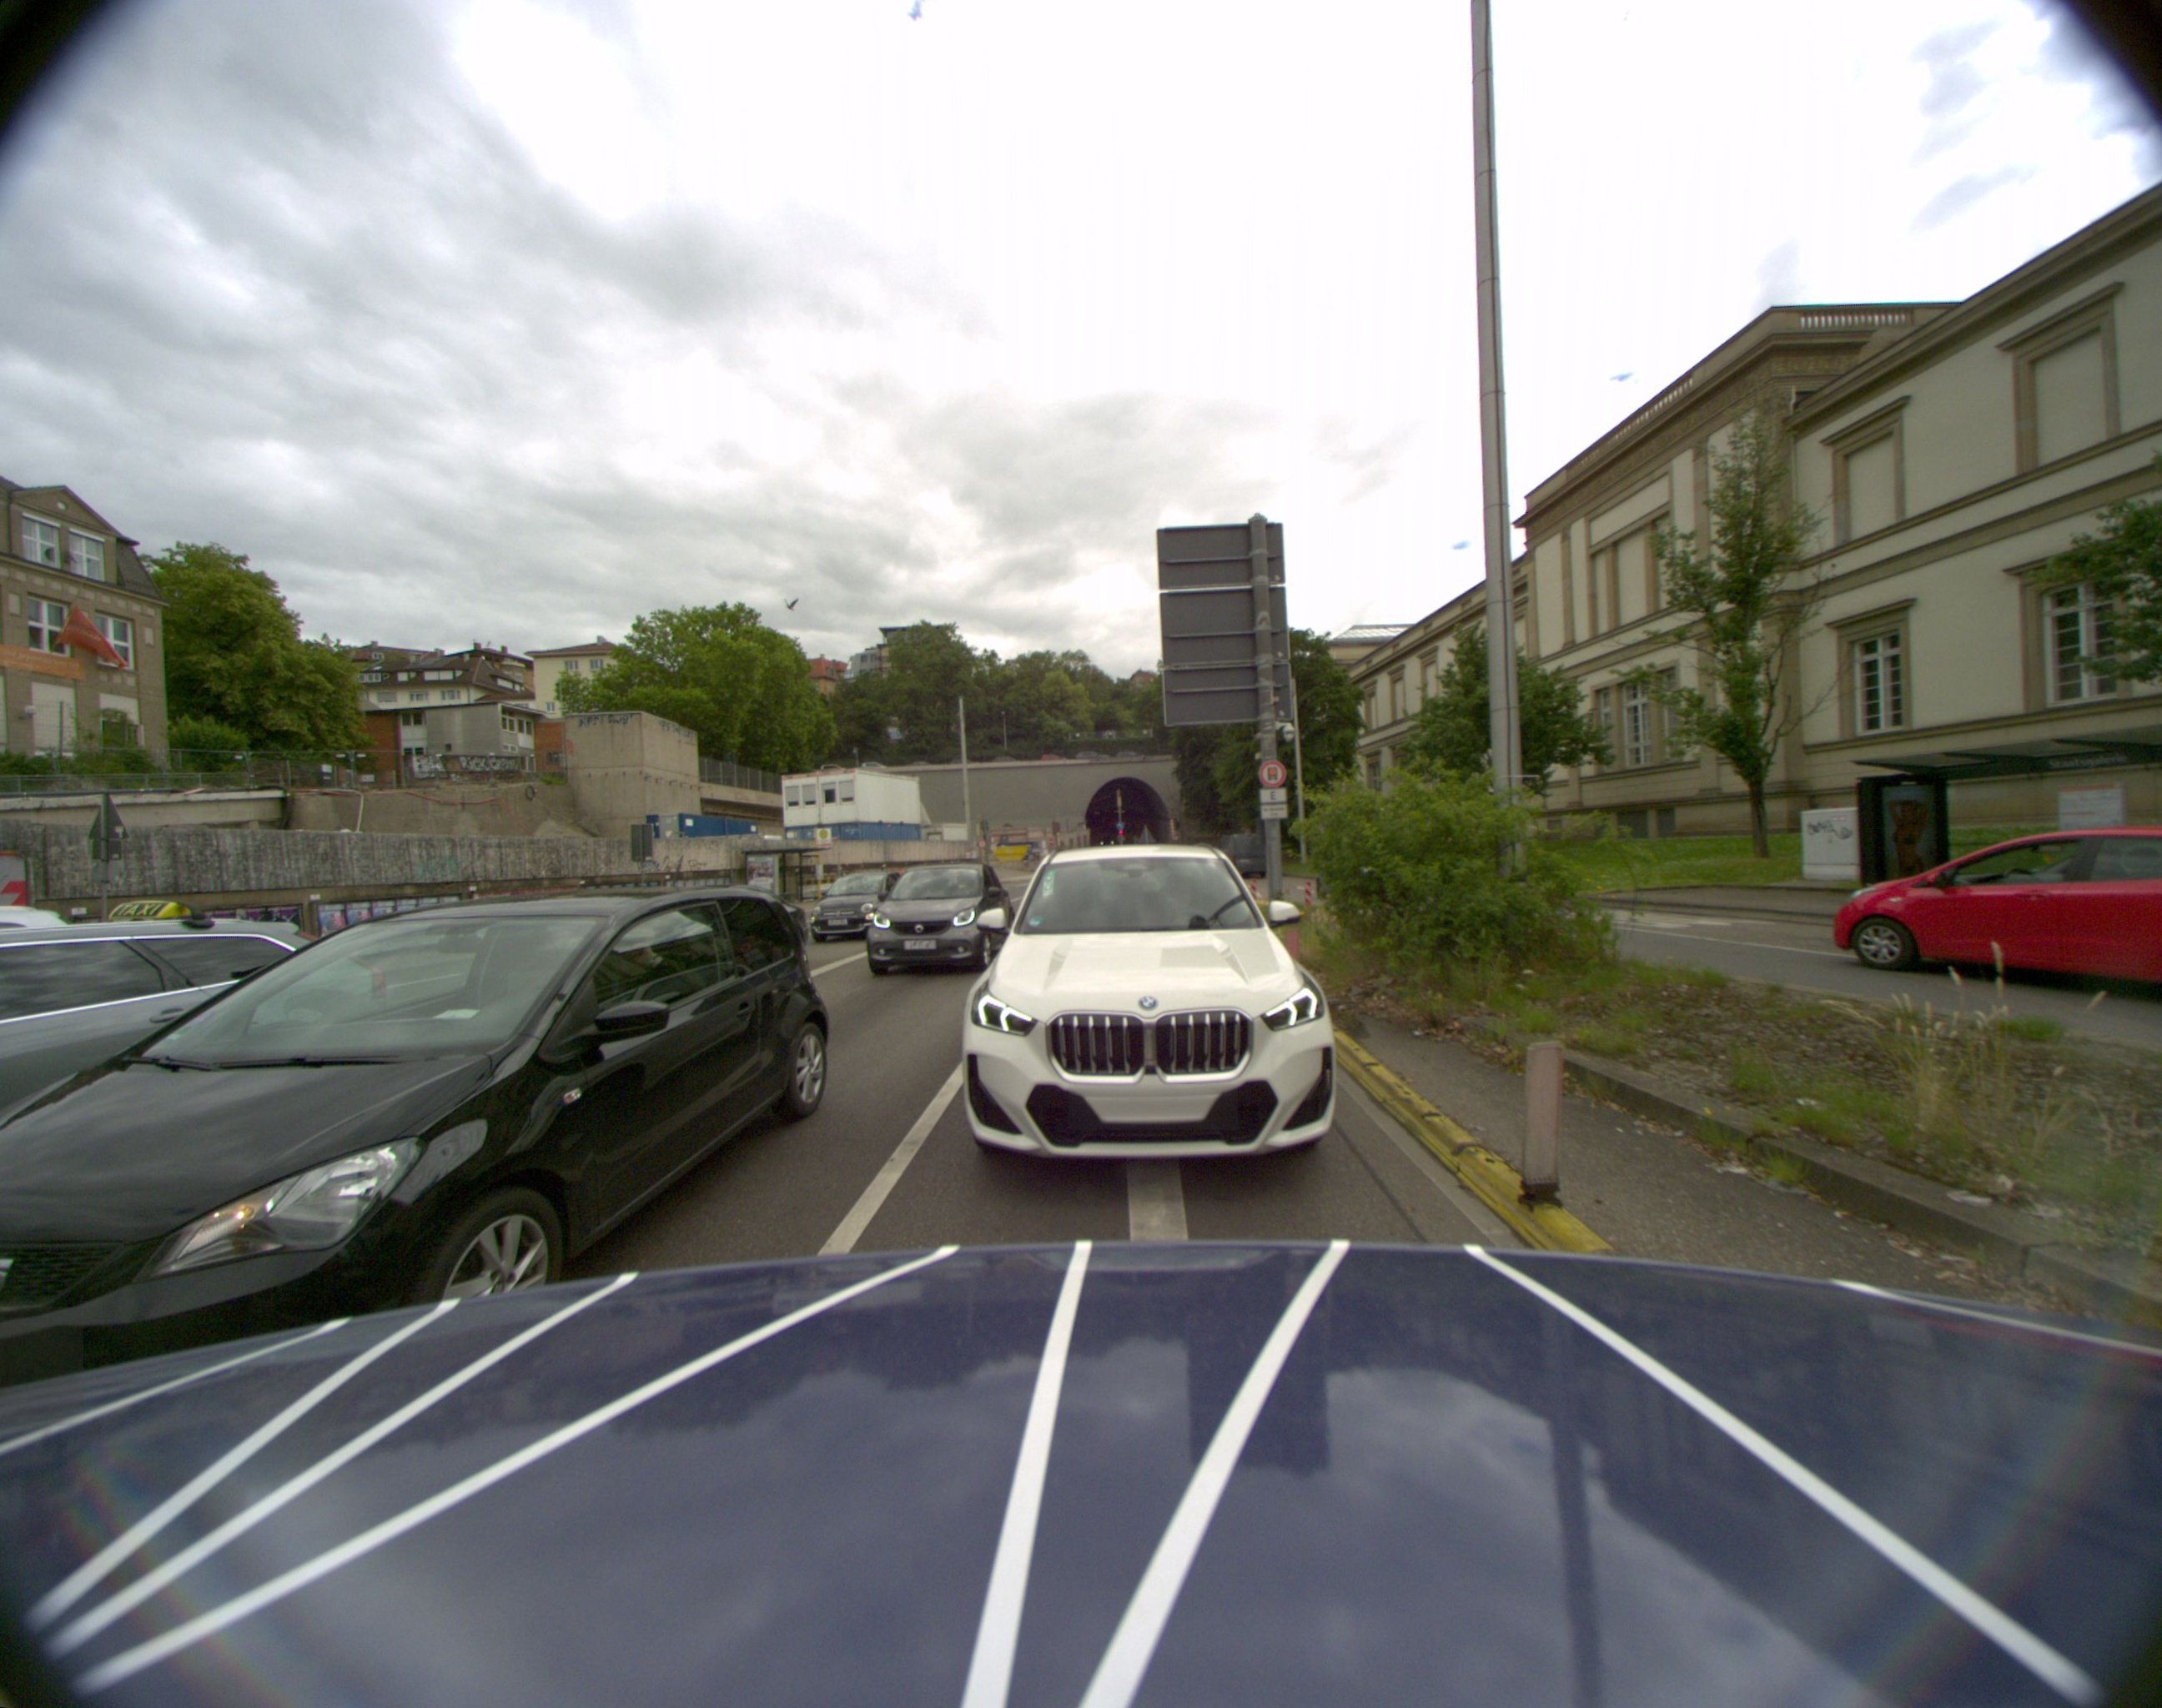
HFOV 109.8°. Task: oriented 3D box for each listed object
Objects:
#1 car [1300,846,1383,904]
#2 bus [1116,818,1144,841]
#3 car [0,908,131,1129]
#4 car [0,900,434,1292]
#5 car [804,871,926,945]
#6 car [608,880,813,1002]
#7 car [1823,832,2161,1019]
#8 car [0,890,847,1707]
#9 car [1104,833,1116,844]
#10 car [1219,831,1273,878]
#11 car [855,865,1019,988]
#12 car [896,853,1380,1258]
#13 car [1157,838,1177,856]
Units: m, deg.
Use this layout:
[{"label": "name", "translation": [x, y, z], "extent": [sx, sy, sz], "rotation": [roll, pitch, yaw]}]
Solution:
[{"label": "car", "translation": [8.127, 0.609, 24.052], "extent": [1.777, 1.609, 3.805], "rotation": [-2, 1, 8]}, {"label": "bus", "translation": [7.231, -3.593, 113.668], "extent": [3.171, 3.129, 9.118], "rotation": [-2, 1, -1]}, {"label": "car", "translation": [-9.102, 1.330, 4.450], "extent": [1.680, 1.615, 4.209], "rotation": [-2, 1, 1]}, {"label": "car", "translation": [-5.852, 1.217, 3.308], "extent": [1.829, 1.615, 4.808], "rotation": [-2, 1, 1]}, {"label": "car", "translation": [-4.911, 1.178, 17.817], "extent": [1.680, 1.358, 3.806], "rotation": [-2, 1, 1]}, {"label": "car", "translation": [-5.388, 1.204, 11.437], "extent": [1.665, 1.423, 2.714], "rotation": [-2, 1, 1]}, {"label": "car", "translation": [9.395, 0.560, 6.912], "extent": [1.647, 1.469, 3.573], "rotation": [-2, 0, -4]}, {"label": "car", "translation": [-2.567, 1.026, 3.347], "extent": [1.829, 1.450, 3.700], "rotation": [-2, 1, 1]}, {"label": "car", "translation": [4.019, -2.158, 104.886], "extent": [1.680, 1.450, 3.807], "rotation": [-2, 1, 3]}, {"label": "car", "translation": [9.496, 0.017, 44.028], "extent": [2.203, 2.493, 4.758], "rotation": [-2, 1, 2]}, {"label": "car", "translation": [-2.059, 0.991, 11.871], "extent": [1.720, 1.535, 3.575], "rotation": [-2, 0, 2]}, {"label": "car", "translation": [0.268, 0.856, 5.046], "extent": [1.987, 1.615, 3.670], "rotation": [-2, 1, 1]}, {"label": "car", "translation": [9.071, -0.739, 80.351], "extent": [1.946, 1.714, 4.001], "rotation": [-2, 1, 4]}]
